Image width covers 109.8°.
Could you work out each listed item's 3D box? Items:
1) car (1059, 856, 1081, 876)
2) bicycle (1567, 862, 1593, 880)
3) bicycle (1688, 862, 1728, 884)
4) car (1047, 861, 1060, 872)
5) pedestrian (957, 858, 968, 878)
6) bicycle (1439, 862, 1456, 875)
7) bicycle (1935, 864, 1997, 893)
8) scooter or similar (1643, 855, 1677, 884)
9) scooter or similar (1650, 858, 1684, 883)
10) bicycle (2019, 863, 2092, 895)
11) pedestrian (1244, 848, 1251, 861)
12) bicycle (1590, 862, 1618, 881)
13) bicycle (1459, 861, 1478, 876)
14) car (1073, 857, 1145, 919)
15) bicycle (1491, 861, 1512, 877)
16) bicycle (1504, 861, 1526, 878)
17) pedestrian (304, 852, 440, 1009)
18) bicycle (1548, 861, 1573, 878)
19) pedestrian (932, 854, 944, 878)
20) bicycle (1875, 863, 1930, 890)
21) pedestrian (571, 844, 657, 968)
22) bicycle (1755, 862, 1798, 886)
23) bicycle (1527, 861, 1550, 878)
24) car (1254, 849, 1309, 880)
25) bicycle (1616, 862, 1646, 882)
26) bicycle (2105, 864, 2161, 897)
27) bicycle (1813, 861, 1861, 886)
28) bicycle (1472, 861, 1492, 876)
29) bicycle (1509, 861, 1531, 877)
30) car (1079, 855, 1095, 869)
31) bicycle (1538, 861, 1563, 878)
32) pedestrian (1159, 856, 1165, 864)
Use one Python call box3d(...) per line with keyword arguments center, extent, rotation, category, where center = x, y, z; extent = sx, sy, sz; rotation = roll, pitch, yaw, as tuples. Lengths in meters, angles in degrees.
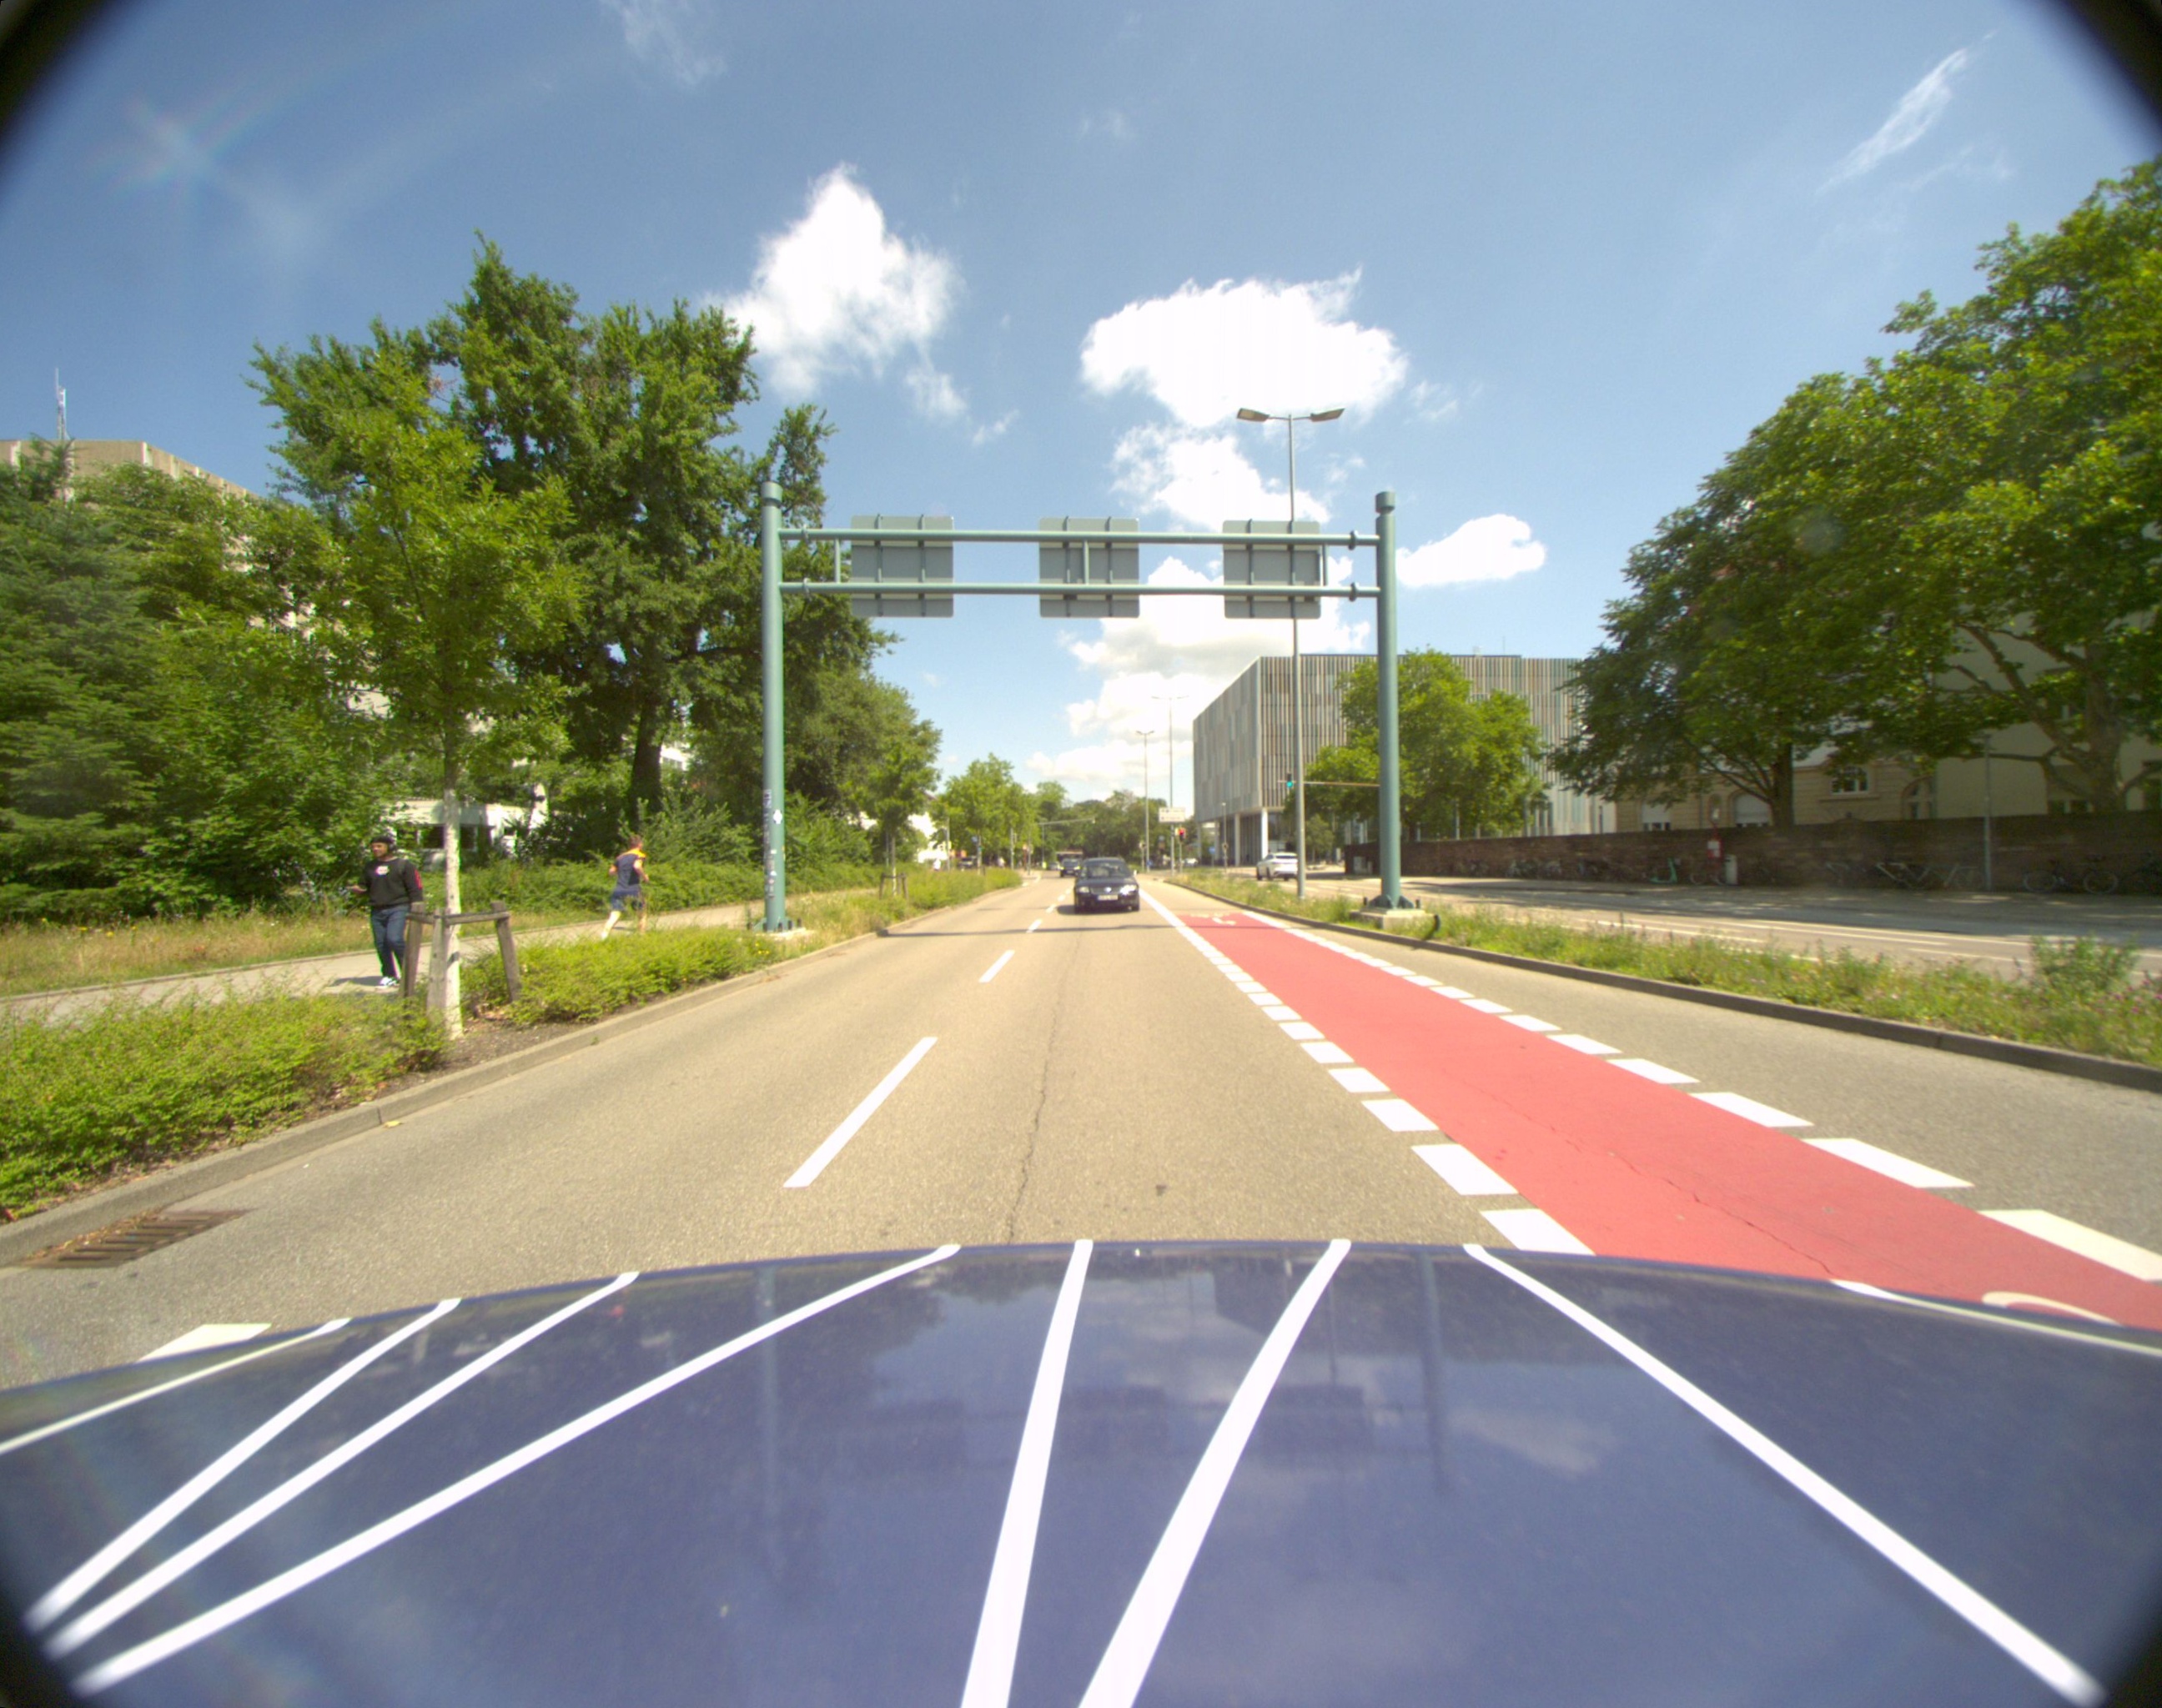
box3d(center=(-0.948, 1.050, 67.525), extent=(1.816, 1.598, 4.479), rotation=(-3, 0, 1), category="car")
box3d(center=(23.803, 0.786, 36.243), extent=(0.265, 0.826, 1.235), rotation=(-1, 0, -11), category="bicycle")
box3d(center=(24.817, 0.745, 30.092), extent=(0.265, 0.826, 1.233), rotation=(-1, 0, -21), category="bicycle")
box3d(center=(-4.333, 1.962, 122.143), extent=(1.816, 1.598, 4.479), rotation=(-3, 0, 1), category="car")
box3d(center=(-9.460, 1.095, 60.798), extent=(0.767, 1.601, 0.765), rotation=(-1, 0, -4), category="pedestrian")
box3d(center=(22.488, 0.882, 46.661), extent=(0.265, 0.826, 1.235), rotation=(-1, 0, -11), category="bicycle")
box3d(center=(26.241, 0.726, 22.540), extent=(0.265, 0.826, 1.235), rotation=(-1, 0, -11), category="bicycle")
box3d(center=(23.821, 0.627, 31.297), extent=(0.265, 1.182, 1.234), rotation=(-1, 0, -11), category="scooter or similar")
box3d(center=(24.573, 0.690, 31.862), extent=(0.266, 1.014, 1.140), rotation=(-1, 0, -22), category="scooter or similar")
box3d(center=(26.638, 0.674, 20.785), extent=(0.265, 0.826, 1.234), rotation=(-1, 0, -13), category="bicycle")
box3d(center=(26.740, 0.033, 121.715), extent=(0.864, 2.002, 0.995), rotation=(-1, 0, 0), category="pedestrian")
box3d(center=(24.056, 0.789, 34.953), extent=(0.265, 0.826, 1.235), rotation=(-1, 0, -11), category="bicycle")
box3d(center=(22.842, 0.854, 44.772), extent=(0.265, 0.826, 1.235), rotation=(-1, 0, -11), category="bicycle")
box3d(center=(0.723, 0.855, 21.133), extent=(1.723, 1.472, 4.594), rotation=(-3, 0, 1), category="car")
box3d(center=(23.151, 0.824, 41.814), extent=(0.265, 0.826, 1.234), rotation=(-1, 0, -11), category="bicycle")
box3d(center=(22.882, 0.812, 40.102), extent=(0.265, 0.826, 1.234), rotation=(-1, 0, -11), category="bicycle")
box3d(center=(-8.000, 0.825, 8.609), extent=(0.760, 1.674, 0.817), rotation=(-1, 0, 12), category="pedestrian")
box3d(center=(23.653, 0.755, 37.526), extent=(0.265, 0.826, 1.235), rotation=(-1, 0, -11), category="bicycle")
box3d(center=(-12.343, 1.036, 65.363), extent=(0.847, 2.026, 0.900), rotation=(-1, 0, -21), category="pedestrian")
box3d(center=(25.994, 0.705, 24.054), extent=(0.265, 0.826, 1.235), rotation=(-1, 0, -11), category="bicycle")
box3d(center=(-6.889, 0.747, 11.247), extent=(0.639, 1.754, 0.887), rotation=(-1, 0, 7), category="pedestrian")
box3d(center=(25.187, 0.712, 27.532), extent=(0.265, 0.826, 1.235), rotation=(-1, 0, -11), category="bicycle")
box3d(center=(23.467, 0.794, 39.009), extent=(0.265, 0.826, 1.235), rotation=(-1, 0, -11), category="bicycle")
box3d(center=(11.672, 0.614, 44.543), extent=(1.999, 1.701, 4.512), rotation=(-1, 0, -1), category="car")
box3d(center=(24.123, 0.777, 33.340), extent=(0.265, 0.826, 1.235), rotation=(-1, 0, -11), category="bicycle")
box3d(center=(27.126, 0.672, 19.358), extent=(0.265, 0.826, 1.234), rotation=(-1, 0, -13), category="bicycle")
box3d(center=(25.718, 0.644, 25.869), extent=(0.265, 0.826, 1.235), rotation=(-1, 0, -11), category="bicycle")
box3d(center=(22.926, 0.821, 43.441), extent=(0.265, 0.826, 1.234), rotation=(-1, 0, -11), category="bicycle")
box3d(center=(23.357, 0.796, 40.419), extent=(0.265, 0.826, 1.234), rotation=(-1, 0, -11), category="bicycle")
box3d(center=(0.715, 0.929, 89.415), extent=(1.816, 1.598, 4.479), rotation=(-3, 0, 1), category="car")
box3d(center=(23.183, 0.756, 37.538), extent=(0.265, 0.826, 1.234), rotation=(-1, 0, -11), category="bicycle")
box3d(center=(15.956, 1.202, 149.750), extent=(0.864, 1.647, 0.995), rotation=(-1, 0, -1), category="pedestrian")
